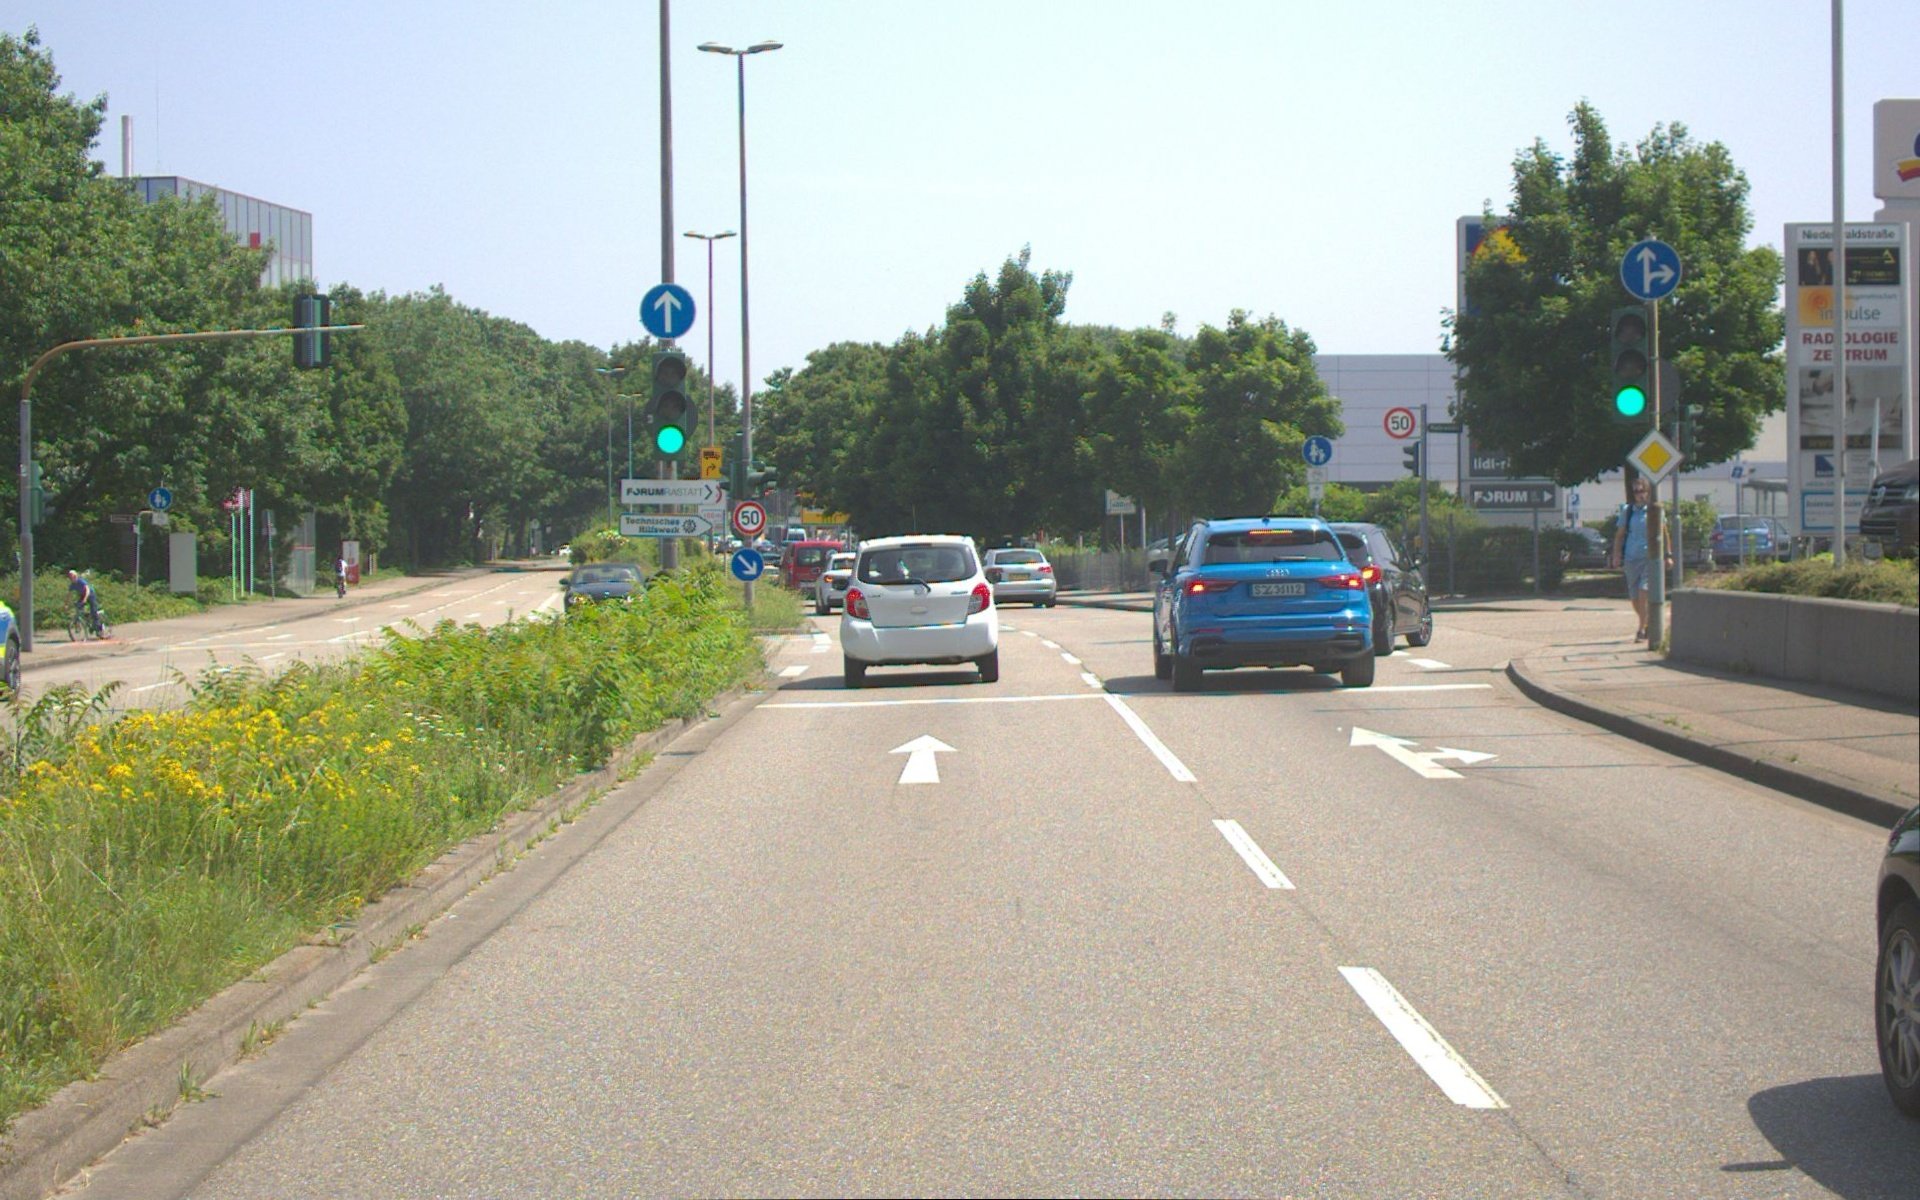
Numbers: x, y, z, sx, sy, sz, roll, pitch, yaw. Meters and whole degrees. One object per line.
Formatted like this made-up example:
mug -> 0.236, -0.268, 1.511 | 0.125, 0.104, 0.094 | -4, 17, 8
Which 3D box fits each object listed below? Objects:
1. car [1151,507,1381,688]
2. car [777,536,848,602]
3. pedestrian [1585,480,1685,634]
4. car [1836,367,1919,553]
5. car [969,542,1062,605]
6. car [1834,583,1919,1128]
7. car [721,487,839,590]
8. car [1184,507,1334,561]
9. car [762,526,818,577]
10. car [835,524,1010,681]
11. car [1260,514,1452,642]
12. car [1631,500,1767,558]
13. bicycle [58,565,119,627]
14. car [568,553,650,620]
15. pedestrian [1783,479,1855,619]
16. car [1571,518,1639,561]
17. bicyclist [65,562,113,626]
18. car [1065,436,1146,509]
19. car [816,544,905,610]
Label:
car -> 2.831, -0.070, 32.503 | 1.828, 1.574, 3.606 | 0, 2, 0
car -> -4.036, -0.872, 93.573 | 1.775, 1.734, 4.001 | -1, 1, -5
pedestrian -> 7.168, -0.456, 36.493 | 0.775, 1.602, 1.083 | 0, 1, 26
car -> 9.841, -1.228, 29.630 | 3.986, 1.539, 2.000 | -1, 1, -3
car -> 1.285, -0.644, 81.144 | 1.993, 1.415, 4.000 | -1, 1, -2
car -> 3.279, 0.711, 7.744 | 1.627, 1.359, 3.606 | 1, 2, -1
car -> -3.102, -1.082, 58.687 | 1.819, 1.656, 4.001 | -1, 2, -6
car -> 8.508, -1.875, 97.862 | 3.986, 1.481, 1.651 | -1, 1, -6
car -> -5.791, -1.681, 117.762 | 1.797, 1.684, 4.000 | -1, 1, -2
car -> -0.378, -0.013, 36.462 | 1.748, 1.515, 3.746 | 1, 2, 0
car -> 4.528, -0.273, 38.951 | 1.459, 1.371, 3.488 | 0, 1, 18
car -> 19.149, -1.830, 89.164 | 1.505, 1.459, 3.164 | -2, 1, -40
bicycle -> -21.499, -0.111, 84.896 | 0.908, 1.497, 2.474 | -1, 1, -1
car -> -7.013, -0.289, 68.570 | 1.573, 1.264, 3.731 | -1, 1, -6
pedestrian -> 10.462, -0.618, 41.875 | 0.654, 1.680, 0.748 | -1, 1, -1
car -> 19.717, -1.853, 105.185 | 1.504, 1.257, 3.165 | -1, 1, 1
bicyclist -> -21.498, -0.155, 84.838 | 0.908, 1.567, 1.025 | -1, 1, -1
car -> 4.127, -3.631, 97.999 | 1.769, 2.006, 3.992 | -1, 2, -5
car -> -2.315, -0.550, 79.523 | 1.993, 1.437, 4.001 | -1, 1, -2
